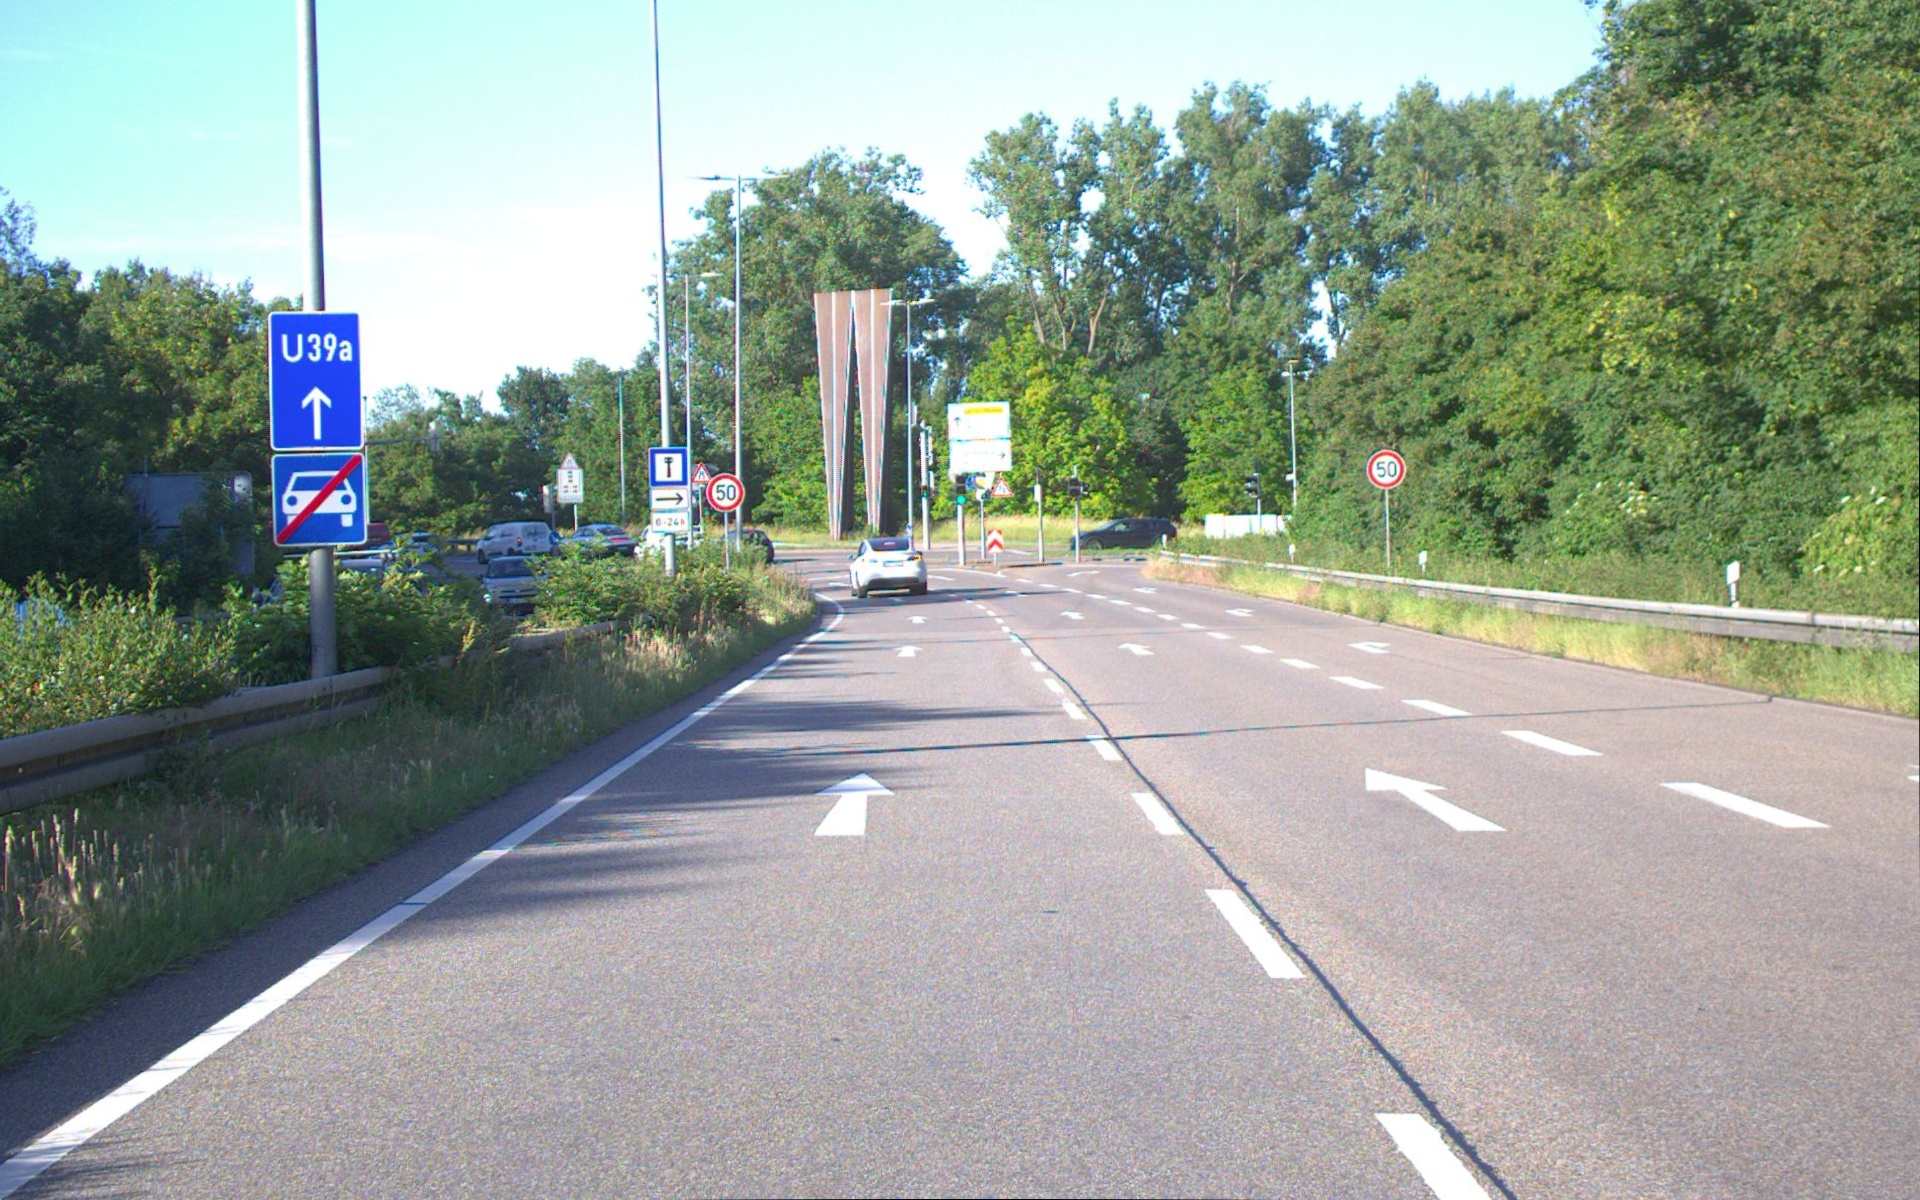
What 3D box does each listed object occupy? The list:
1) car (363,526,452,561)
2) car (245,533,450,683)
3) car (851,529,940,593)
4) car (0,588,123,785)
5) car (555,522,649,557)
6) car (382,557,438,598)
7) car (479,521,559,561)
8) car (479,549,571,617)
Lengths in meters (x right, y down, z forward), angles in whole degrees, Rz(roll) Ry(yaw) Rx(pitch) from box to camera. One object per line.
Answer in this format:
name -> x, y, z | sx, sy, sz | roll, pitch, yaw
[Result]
car -> -25.824, -2.655, 160.644 | 2.267, 1.503, 3.998 | -3, 1, -41
car -> -7.705, 0.057, 43.616 | 1.834, 1.766, 4.338 | -1, 1, -1
car -> -1.815, -1.107, 95.690 | 1.993, 1.634, 4.129 | -2, 2, -7
car -> -7.778, 0.642, 26.055 | 1.773, 1.352, 4.462 | -2, 1, 0
car -> -16.068, -2.721, 154.273 | 1.970, 1.469, 4.152 | -4, 3, -45
car -> -20.220, -0.839, 126.534 | 1.805, 1.412, 4.533 | -3, 1, -7
car -> -19.633, -2.652, 153.001 | 1.969, 1.692, 4.000 | -3, 3, -32
car -> -10.710, -0.440, 84.878 | 1.769, 1.564, 4.219 | -2, 1, -1
